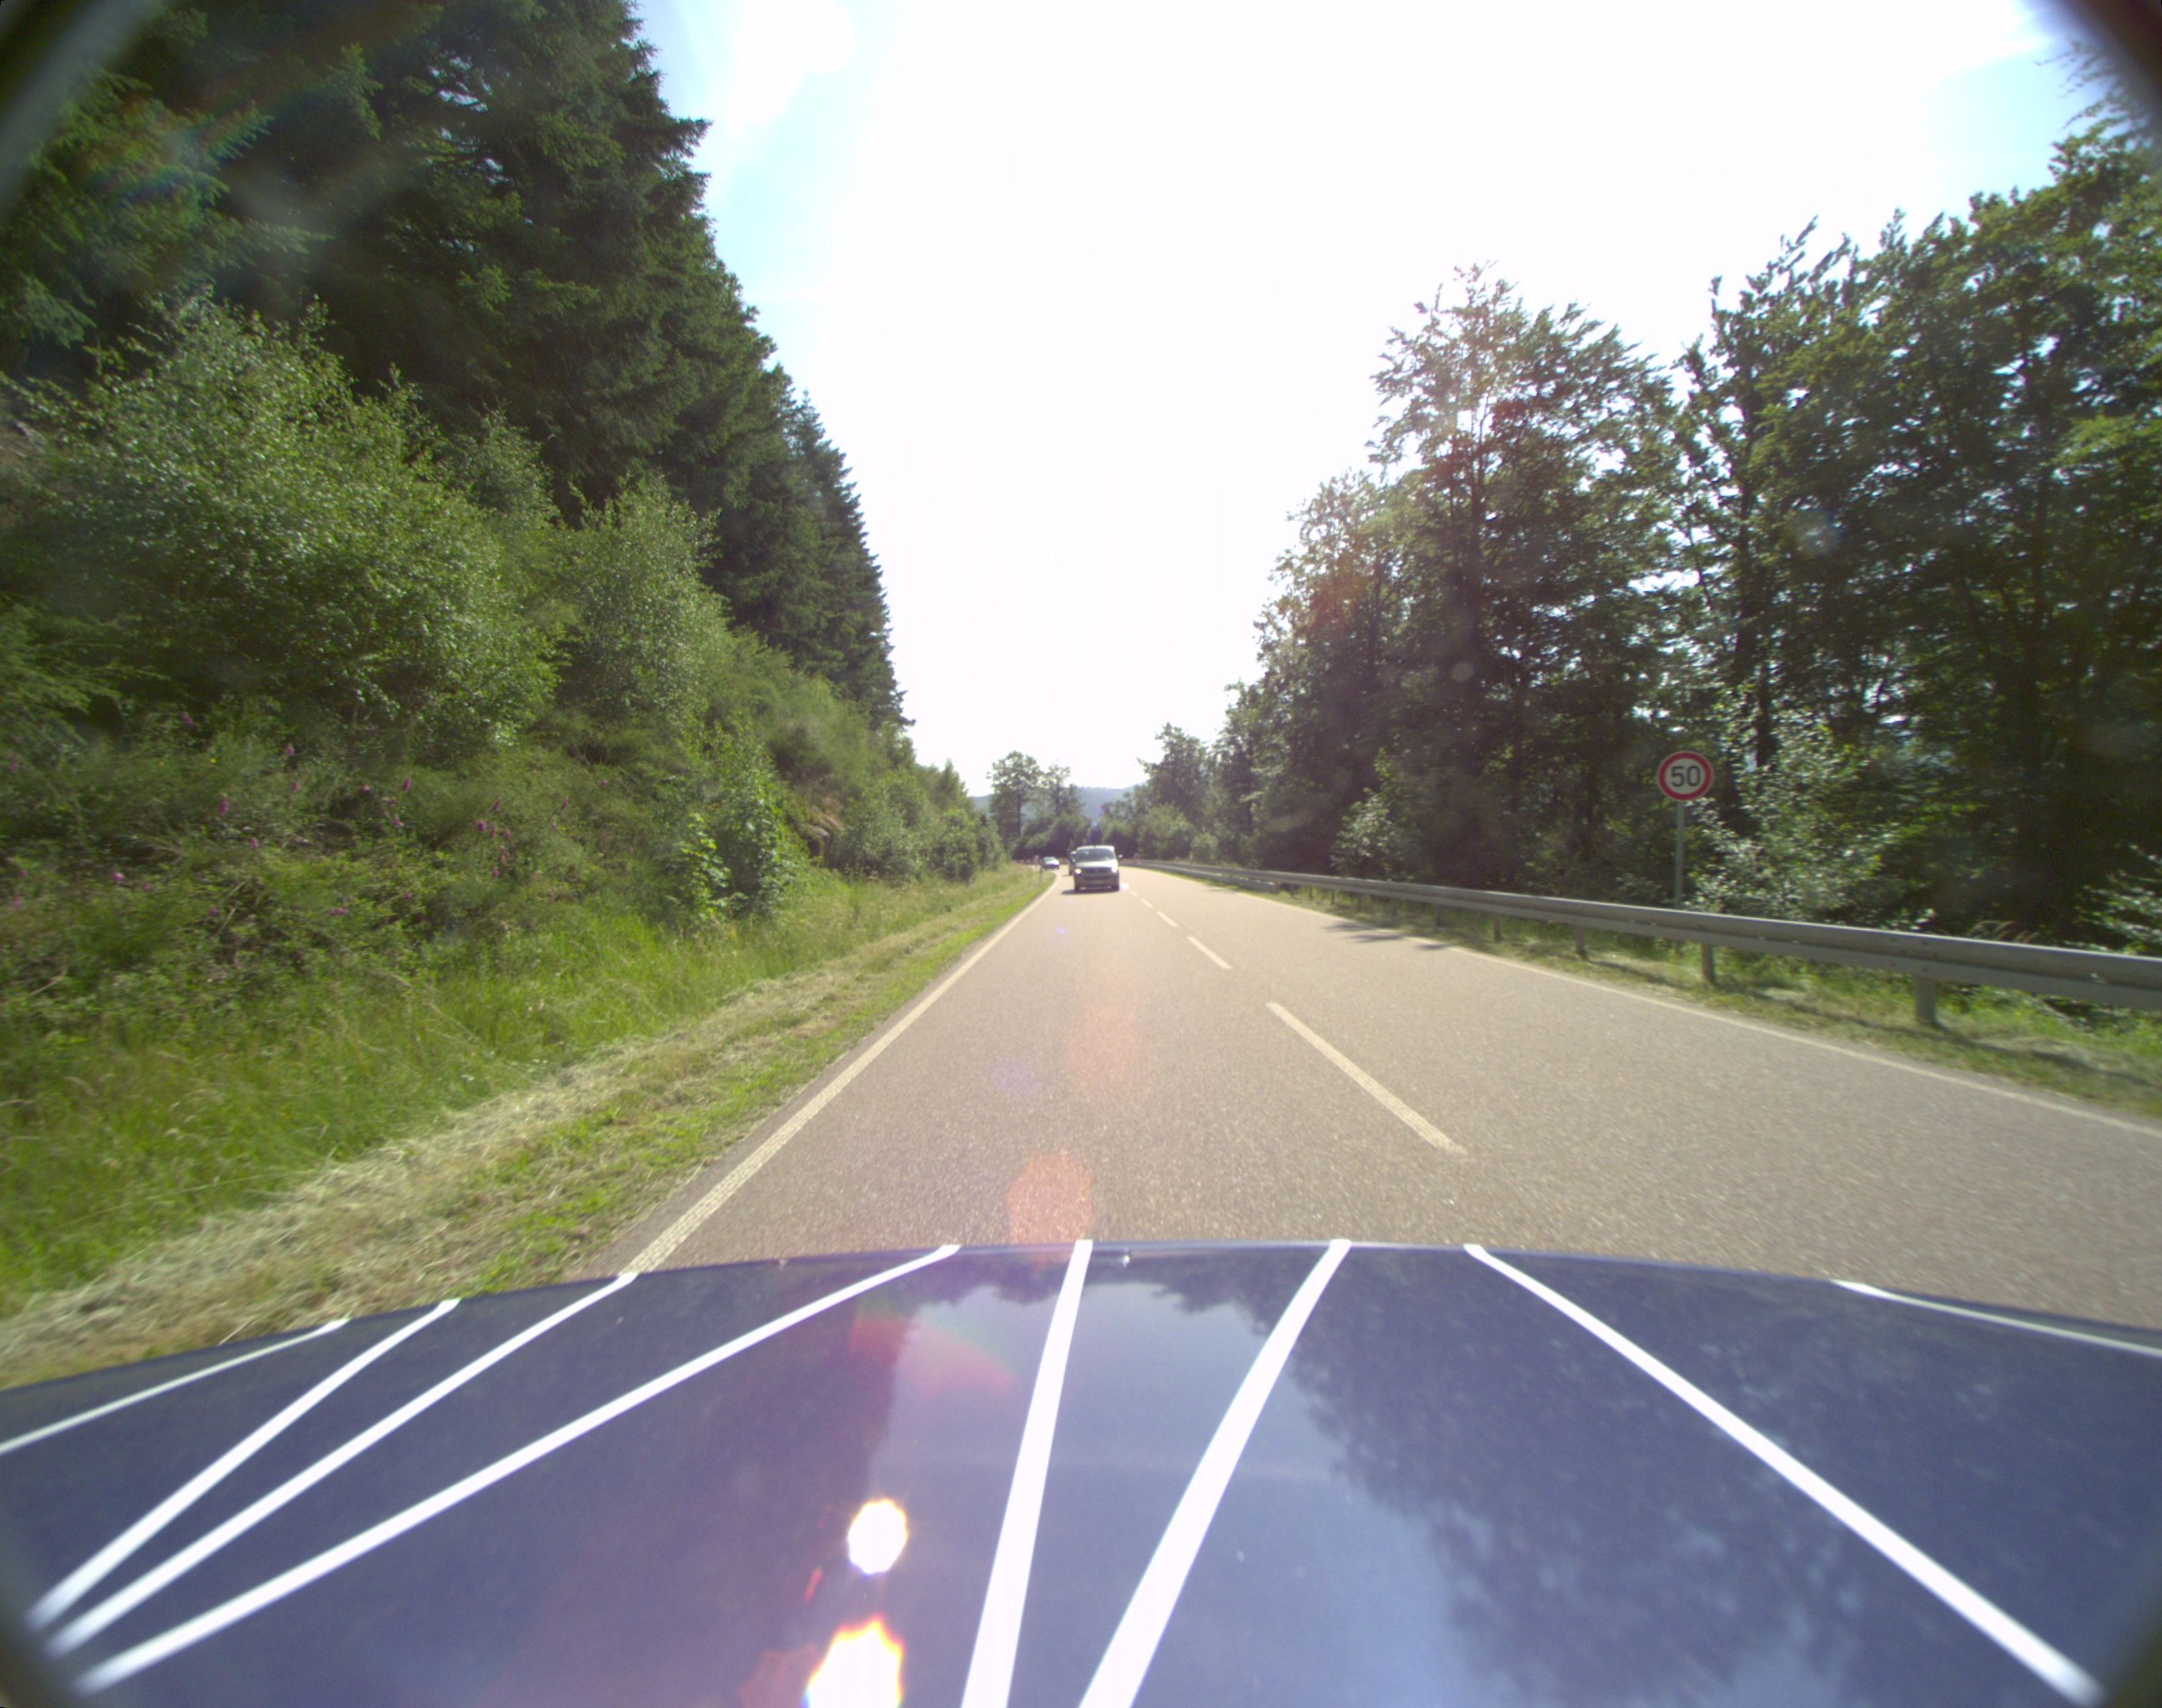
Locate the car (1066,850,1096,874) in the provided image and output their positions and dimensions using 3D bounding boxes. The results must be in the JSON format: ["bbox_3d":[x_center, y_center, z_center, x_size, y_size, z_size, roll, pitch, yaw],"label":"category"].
[{"bbox_3d":[-0.041,0.622,62.278,2.138,1.825,4.720,-2,0,-3],"label":"car"}]

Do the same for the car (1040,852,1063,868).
[{"bbox_3d":[-3.525,0.694,89.315,2.000,1.718,3.995,-3,1,-12],"label":"car"}]

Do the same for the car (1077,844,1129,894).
[{"bbox_3d":[0.879,0.586,33.059,1.990,1.899,4.759,-3,0,0],"label":"car"}]
